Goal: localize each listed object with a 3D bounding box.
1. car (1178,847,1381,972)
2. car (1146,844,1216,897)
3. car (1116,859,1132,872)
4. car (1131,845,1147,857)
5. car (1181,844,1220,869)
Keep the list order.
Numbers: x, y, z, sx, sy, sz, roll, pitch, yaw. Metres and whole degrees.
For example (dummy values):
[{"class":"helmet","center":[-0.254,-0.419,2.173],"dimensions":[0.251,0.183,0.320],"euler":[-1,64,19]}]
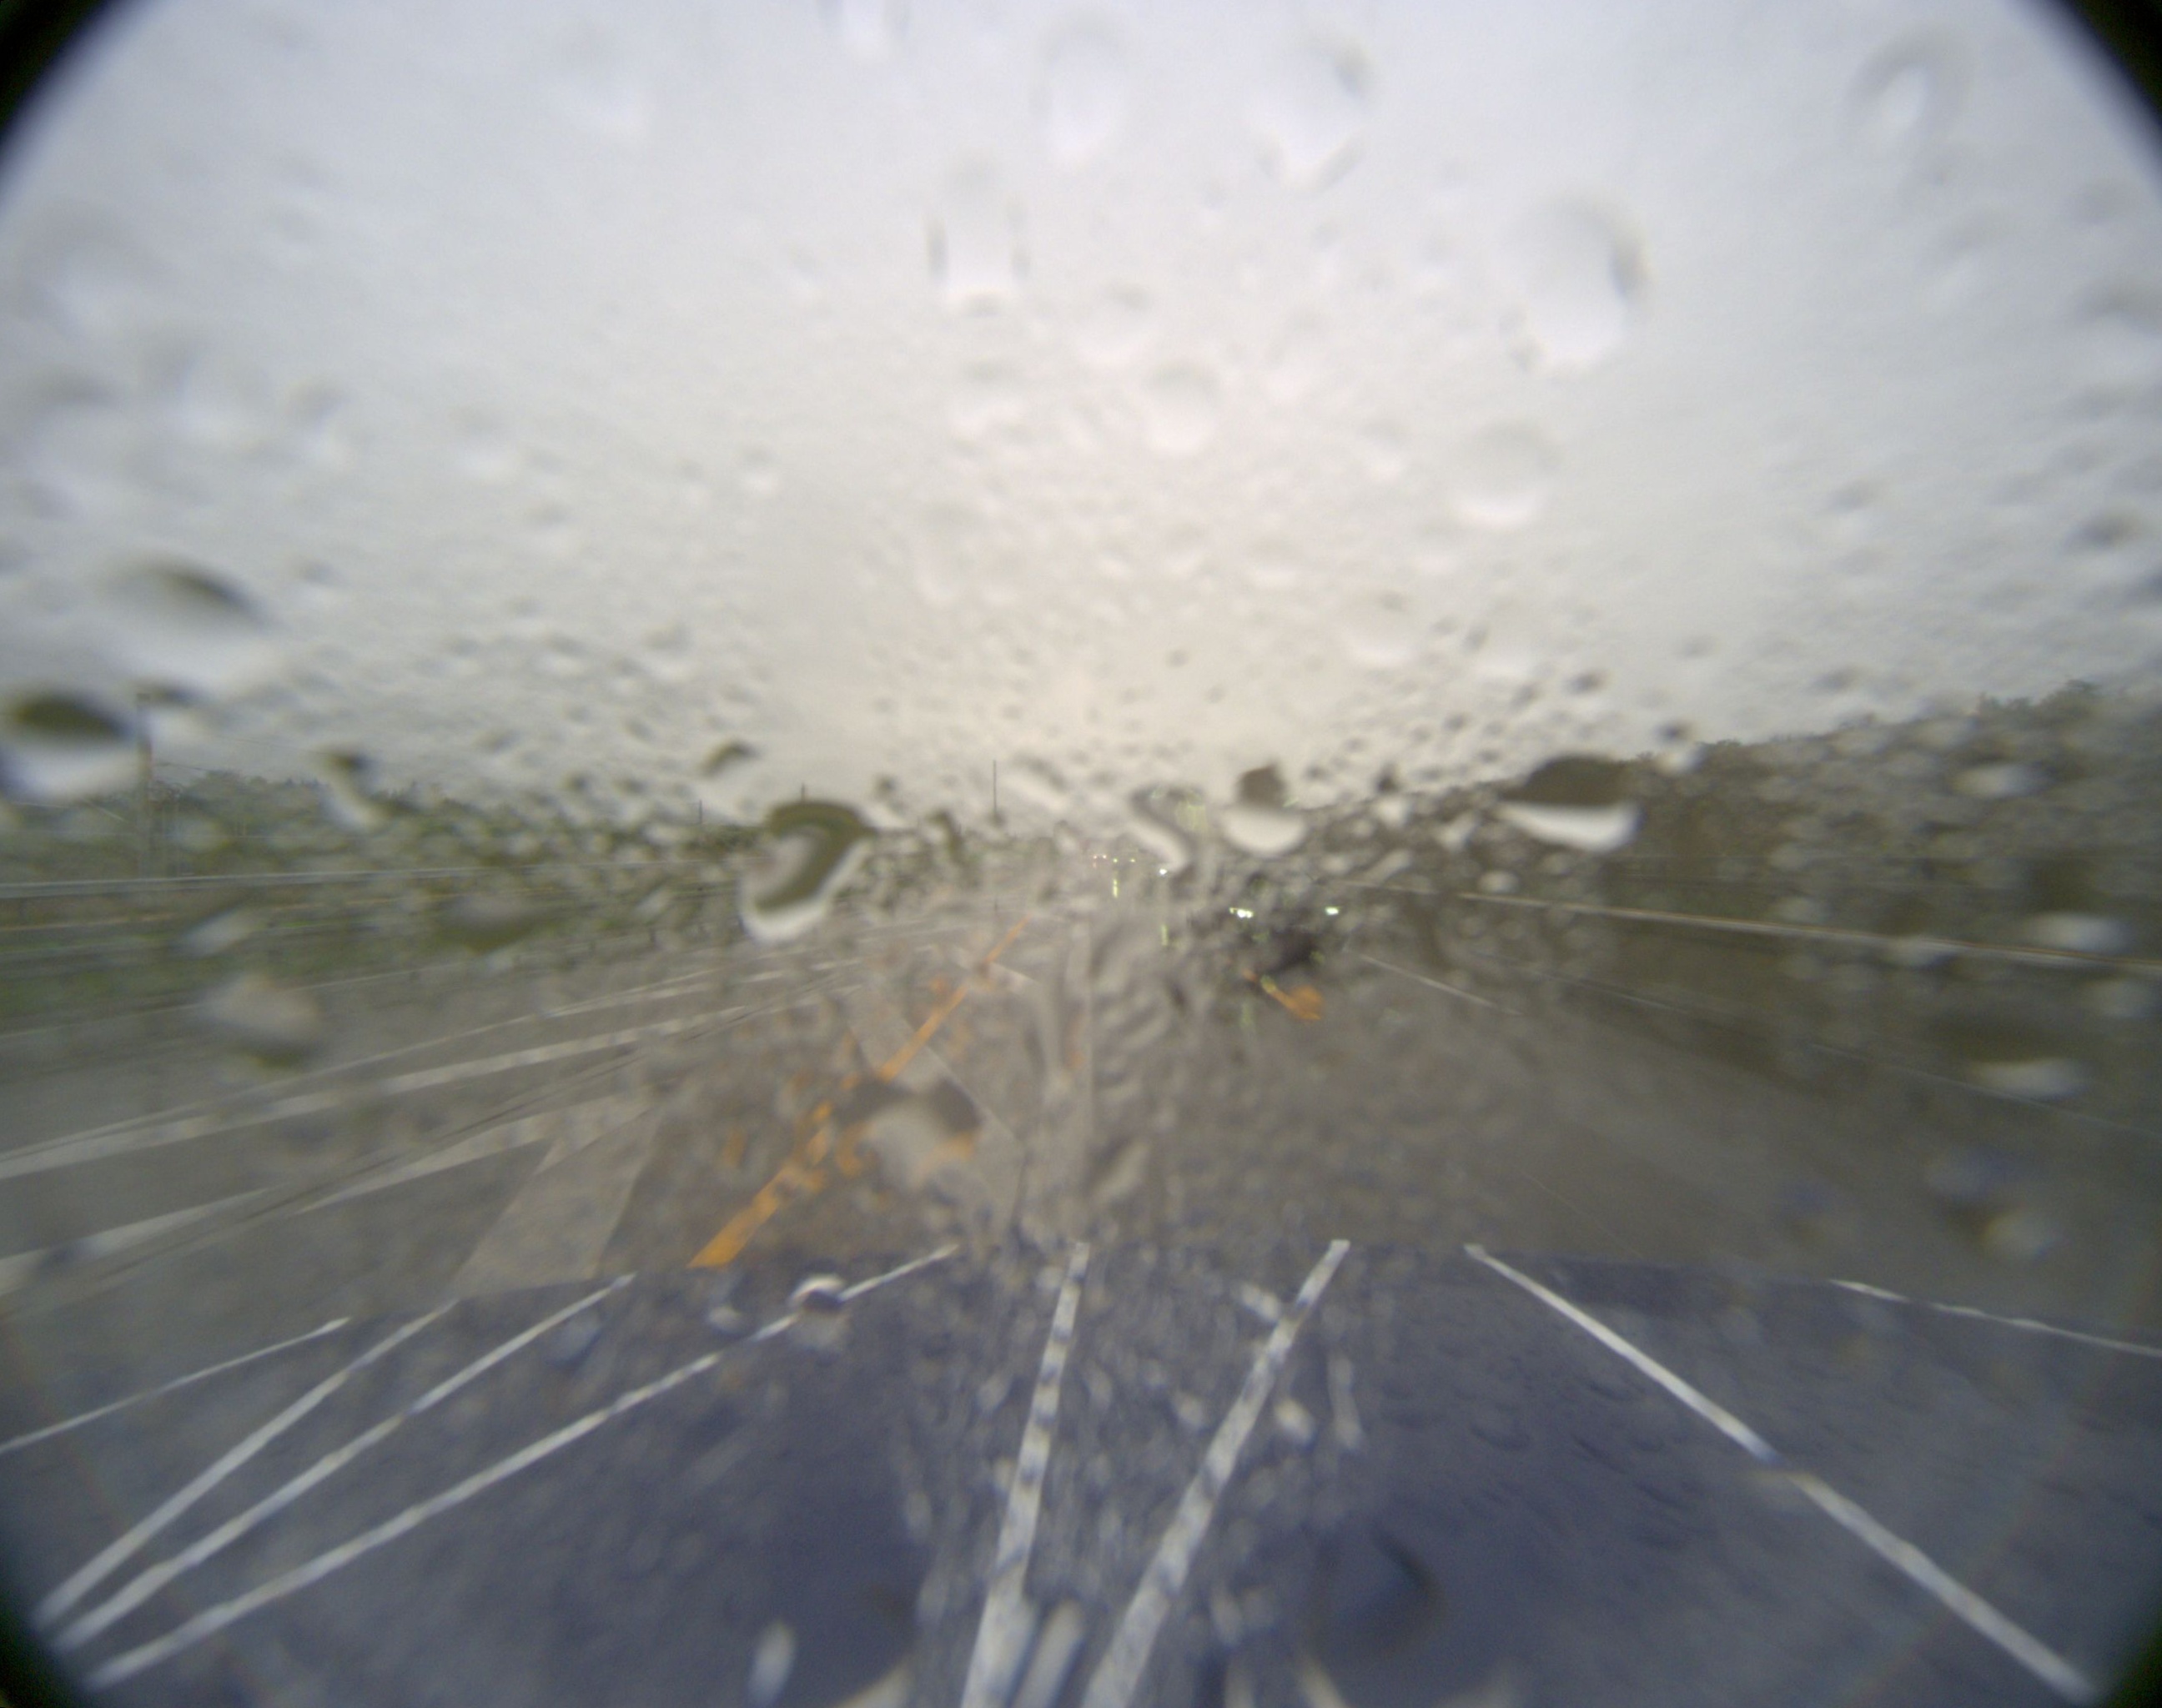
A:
[{"class":"car","center":[2.784,0.677,11.869],"dimensions":[1.944,1.519,4.795],"euler":[0,1,0]},{"class":"car","center":[3.482,0.526,27.091],"dimensions":[1.971,1.670,3.999],"euler":[-2,1,0]},{"class":"car","center":[3.699,0.991,65.636],"dimensions":[1.335,1.105,3.199],"euler":[1,0,1]},{"class":"car","center":[7.541,-0.413,99.711],"dimensions":[1.765,1.452,4.696],"euler":[-2,1,0]},{"class":"car","center":[7.690,0.126,49.415],"dimensions":[1.765,1.519,4.949],"euler":[-2,1,0]}]
